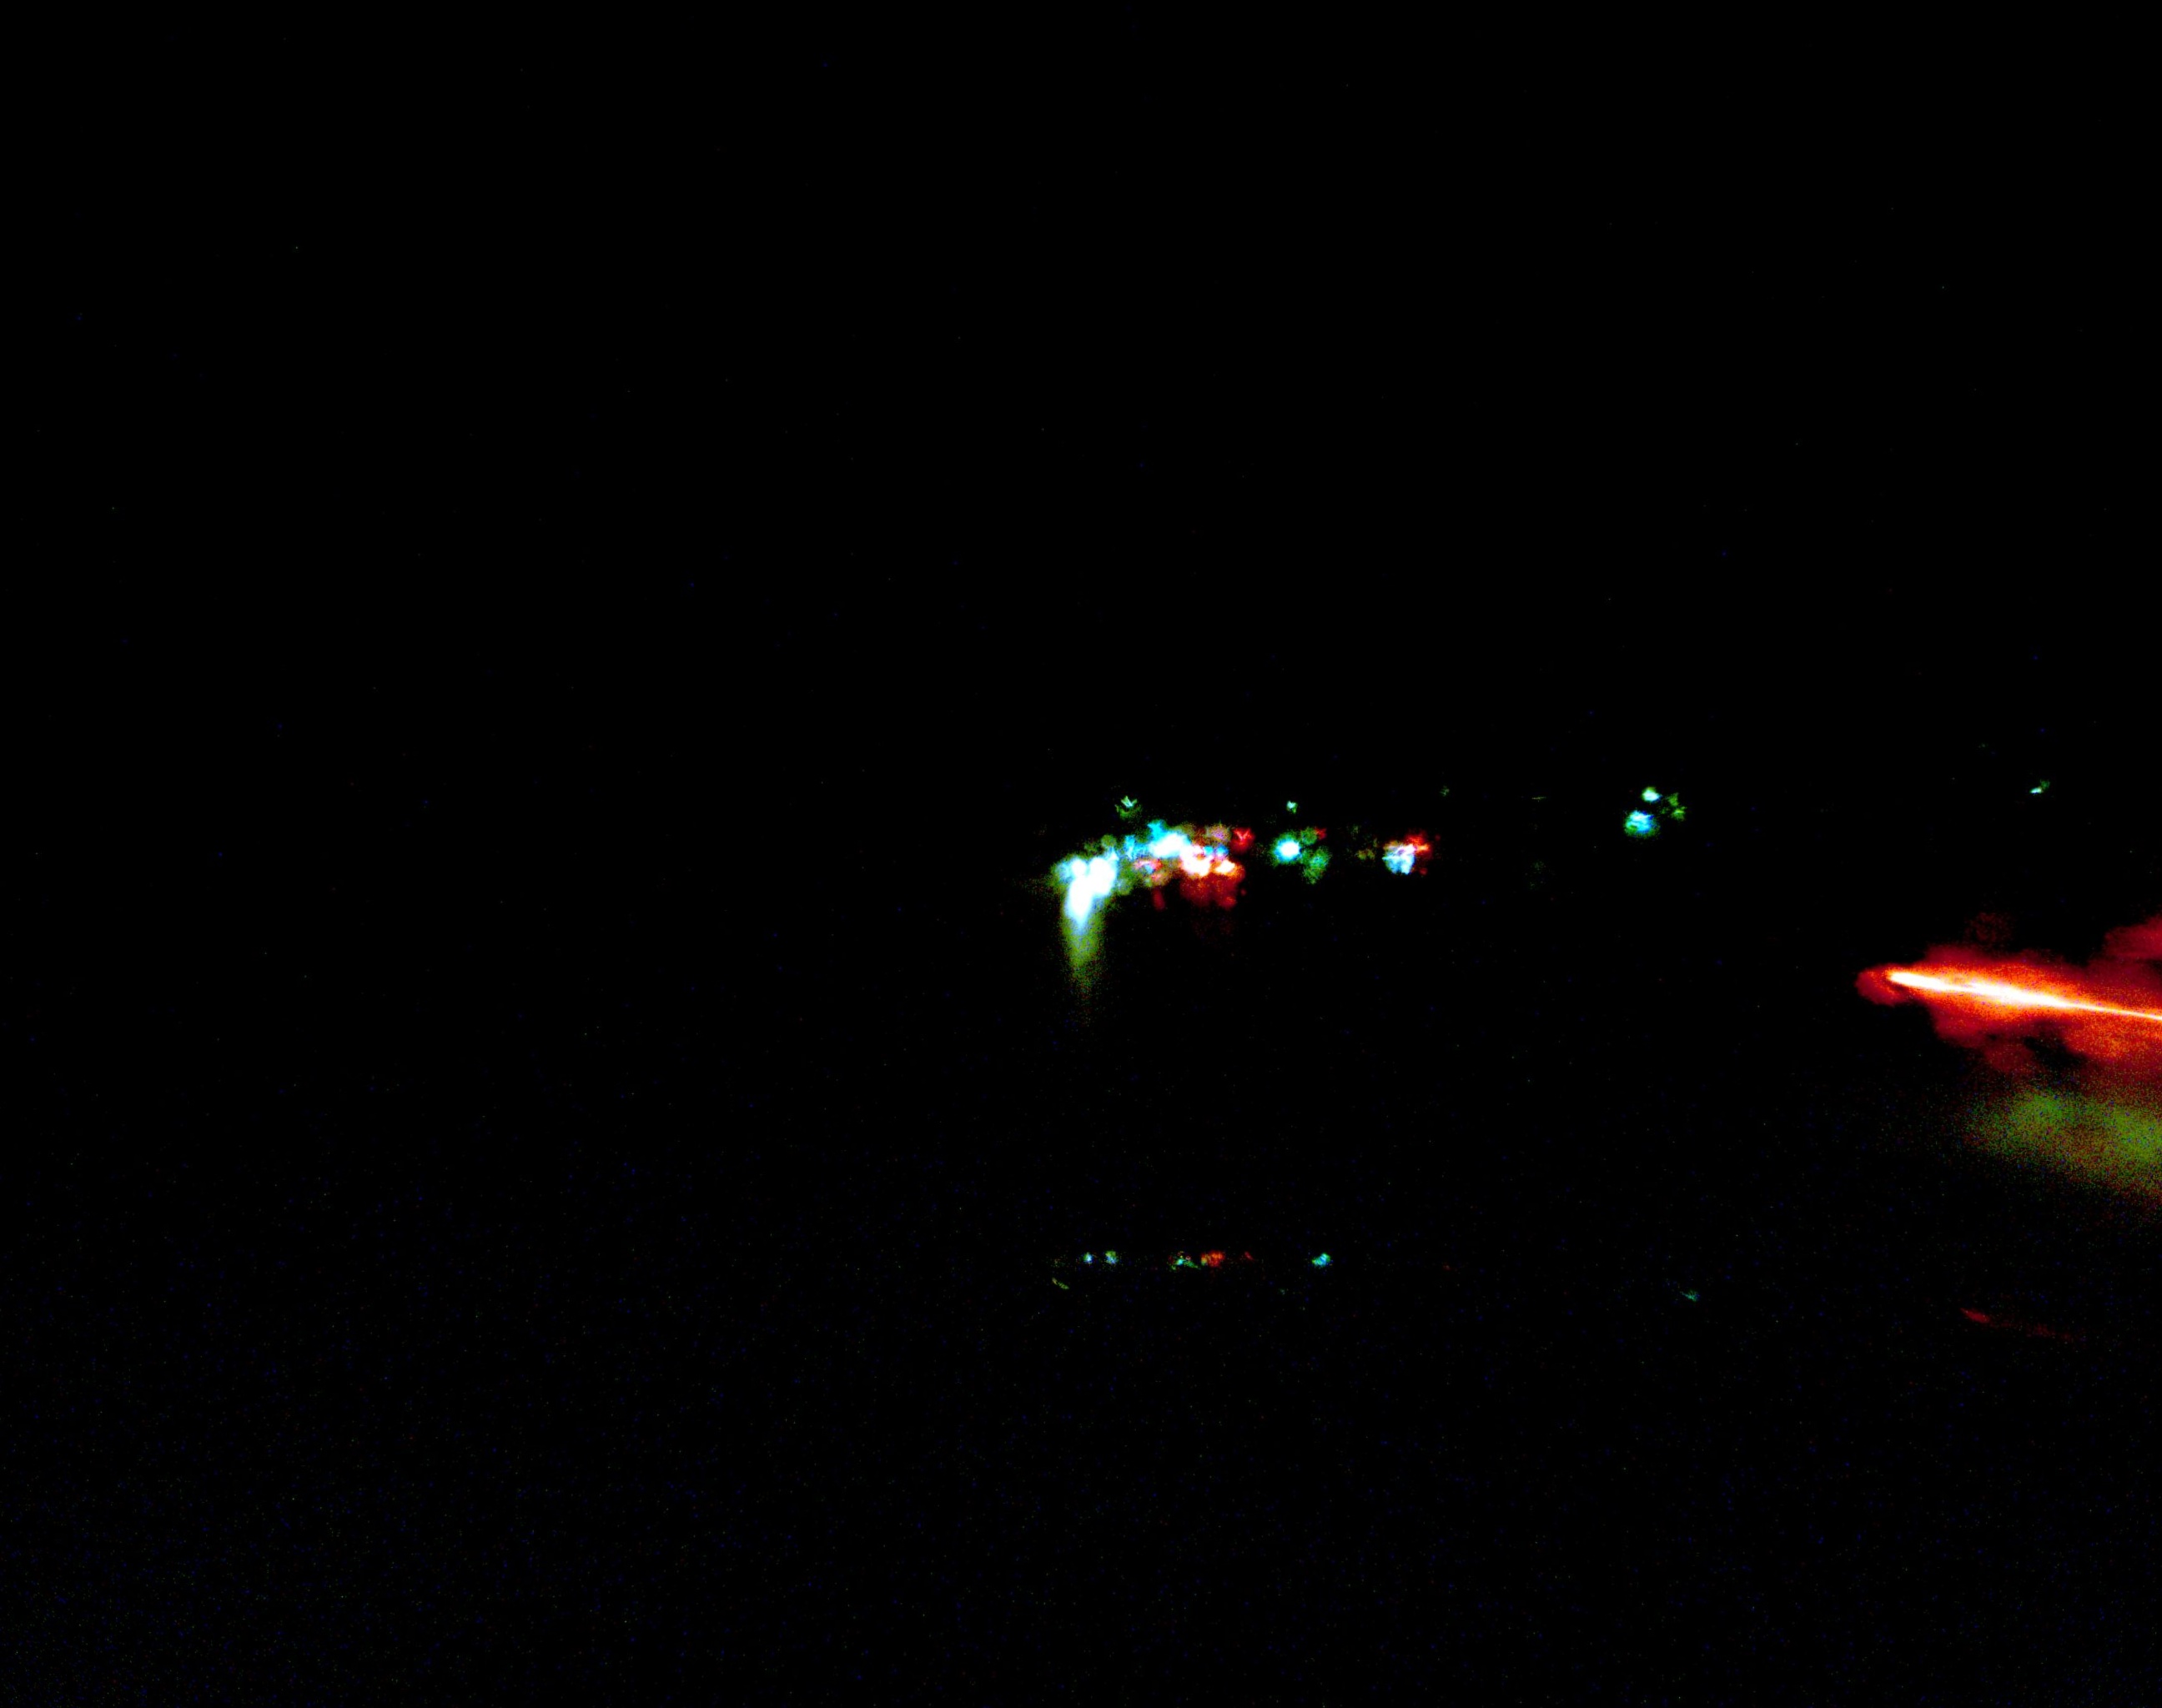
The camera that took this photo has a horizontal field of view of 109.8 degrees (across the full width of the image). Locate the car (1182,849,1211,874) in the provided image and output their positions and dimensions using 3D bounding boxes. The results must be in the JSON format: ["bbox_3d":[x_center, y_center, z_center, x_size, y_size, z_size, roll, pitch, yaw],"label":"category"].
[{"bbox_3d":[9.000,0.532,59.596,1.997,1.854,5.322,-1,0,6],"label":"car"}]

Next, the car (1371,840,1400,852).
[{"bbox_3d":[45.170,-1.200,112.835,1.851,1.683,4.445,-2,0,-9],"label":"car"}]

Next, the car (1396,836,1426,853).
[{"bbox_3d":[45.453,-1.303,104.804,1.998,2.294,6.024,-2,0,5],"label":"car"}]

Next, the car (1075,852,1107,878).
[{"bbox_3d":[0.737,0.694,52.457,1.877,1.579,4.890,-2,1,4],"label":"car"}]

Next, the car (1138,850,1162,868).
[{"bbox_3d":[6.591,0.438,72.328,2.115,1.566,4.682,-2,0,7],"label":"car"}]

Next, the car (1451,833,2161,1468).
[{"bbox_3d":[3.746,0.772,3.794,1.658,1.673,4.520,-2,0,2],"label":"car"}]

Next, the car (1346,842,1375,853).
[{"bbox_3d":[43.504,-0.926,118.211,2.002,1.582,3.992,-2,0,-25],"label":"car"}]

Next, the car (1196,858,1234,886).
[{"bbox_3d":[7.562,0.969,43.256,1.807,1.375,4.774,-2,0,6],"label":"car"}]

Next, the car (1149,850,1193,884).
[{"bbox_3d":[4.624,0.648,39.585,1.928,1.606,4.085,-2,0,2],"label":"car"}]
